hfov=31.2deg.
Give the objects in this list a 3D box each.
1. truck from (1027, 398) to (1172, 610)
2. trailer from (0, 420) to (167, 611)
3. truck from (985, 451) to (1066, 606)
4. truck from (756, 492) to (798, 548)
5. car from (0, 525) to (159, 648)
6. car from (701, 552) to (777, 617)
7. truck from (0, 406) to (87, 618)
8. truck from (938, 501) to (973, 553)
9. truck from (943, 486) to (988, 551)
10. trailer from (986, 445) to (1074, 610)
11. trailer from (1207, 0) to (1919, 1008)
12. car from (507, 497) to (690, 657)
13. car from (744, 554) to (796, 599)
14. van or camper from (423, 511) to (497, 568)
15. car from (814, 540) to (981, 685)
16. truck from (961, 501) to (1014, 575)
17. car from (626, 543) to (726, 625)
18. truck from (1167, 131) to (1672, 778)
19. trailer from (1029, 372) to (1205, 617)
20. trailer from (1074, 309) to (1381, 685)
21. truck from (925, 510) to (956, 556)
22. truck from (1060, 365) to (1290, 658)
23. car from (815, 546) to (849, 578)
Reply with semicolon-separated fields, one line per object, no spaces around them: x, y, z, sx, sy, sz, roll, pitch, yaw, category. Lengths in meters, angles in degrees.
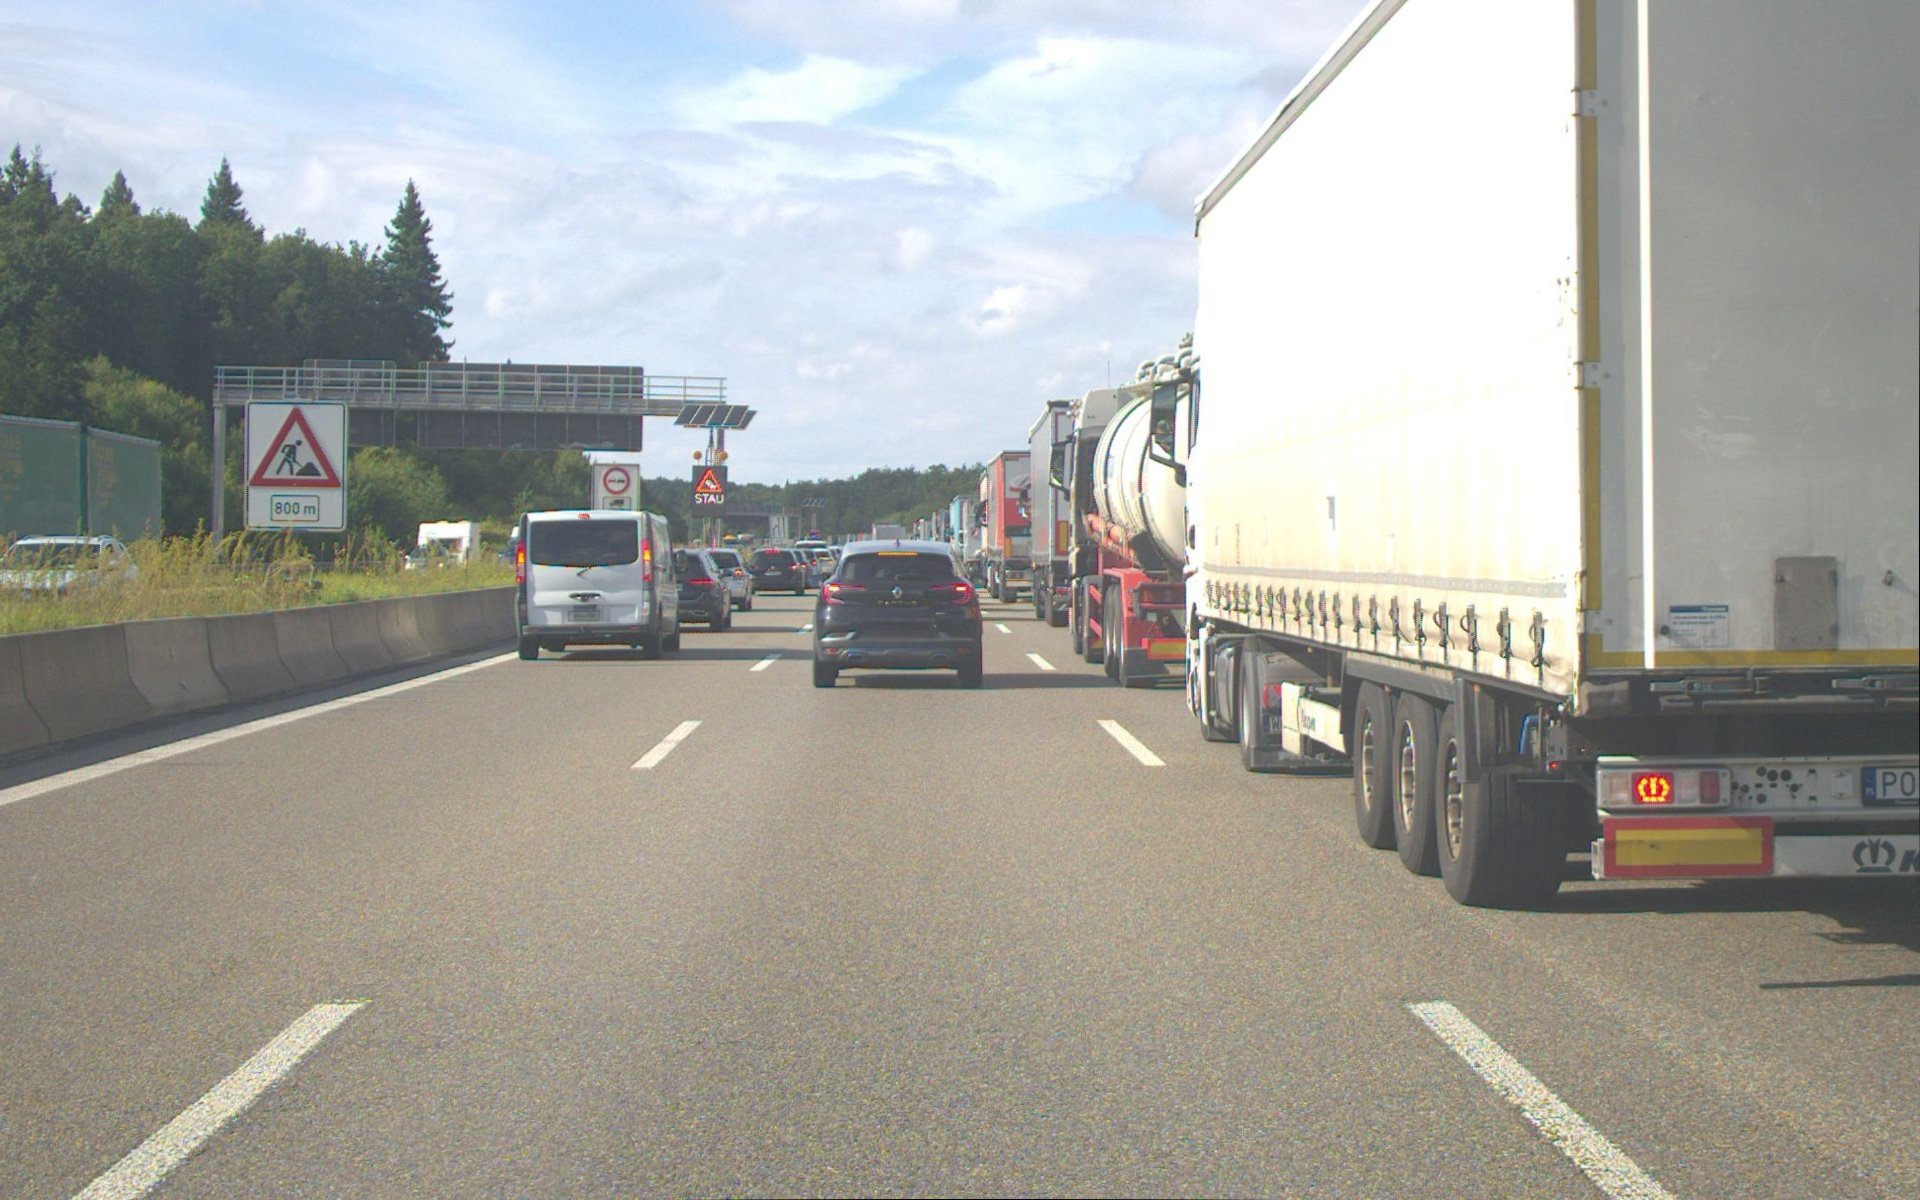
2.847;-1.953;71.978;2.786;4.232;6.459;0;1;0;truck
-20.790;-1.916;80.359;2.725;4.229;8.553;0;1;-2;trailer
1.824;-2.005;98.011;2.134;4.267;6.339;0;1;0;truck
-12.270;-5.365;231.169;2.344;3.582;6.306;3;1;-1;truck
-12.804;-0.210;49.326;1.671;1.618;3.767;3;1;0;car
-5.112;-0.368;79.797;1.500;1.391;3.476;3;1;-1;car
-20.536;-1.782;70.882;2.711;4.229;10.345;0;1;-2;truck
-0.271;-4.486;212.705;1.993;3.042;4.981;3;1;0;truck
0.258;-3.977;168.523;1.993;3.042;4.981;3;1;0;truck
1.839;-1.913;92.855;2.150;4.244;8.440;0;1;0;trailer
3.162;-0.837;17.567;2.703;4.068;12.945;0;1;-1;trailer
-4.881;-0.326;47.022;1.933;1.972;5.099;3;1;-1;car
-5.945;-0.755;107.573;1.434;1.305;3.533;3;1;-1;car
-21.461;-2.567;147.794;2.459;2.405;5.853;0;1;-1;van or camper
-0.673;0.094;37.380;1.696;1.478;4.160;1;1;-1;car
1.110;-2.555;142.630;1.993;2.922;4.981;3;1;0;truck
-4.959;-0.293;60.359;1.500;1.391;3.476;1;1;-1;car
3.075;-0.947;24.755;2.708;4.046;6.362;0;1;-1;truck
2.836;-1.882;65.171;2.802;4.229;11.057;0;1;0;trailer
2.777;-1.055;38.706;2.541;3.641;10.627;0;1;0;trailer
-1.336;-4.663;239.601;1.993;3.042;4.981;3;1;0;truck
2.723;-1.113;45.304;2.533;3.571;6.730;0;1;-1;truck
-5.662;-1.684;151.817;1.361;1.296;3.085;3;1;-1;car
